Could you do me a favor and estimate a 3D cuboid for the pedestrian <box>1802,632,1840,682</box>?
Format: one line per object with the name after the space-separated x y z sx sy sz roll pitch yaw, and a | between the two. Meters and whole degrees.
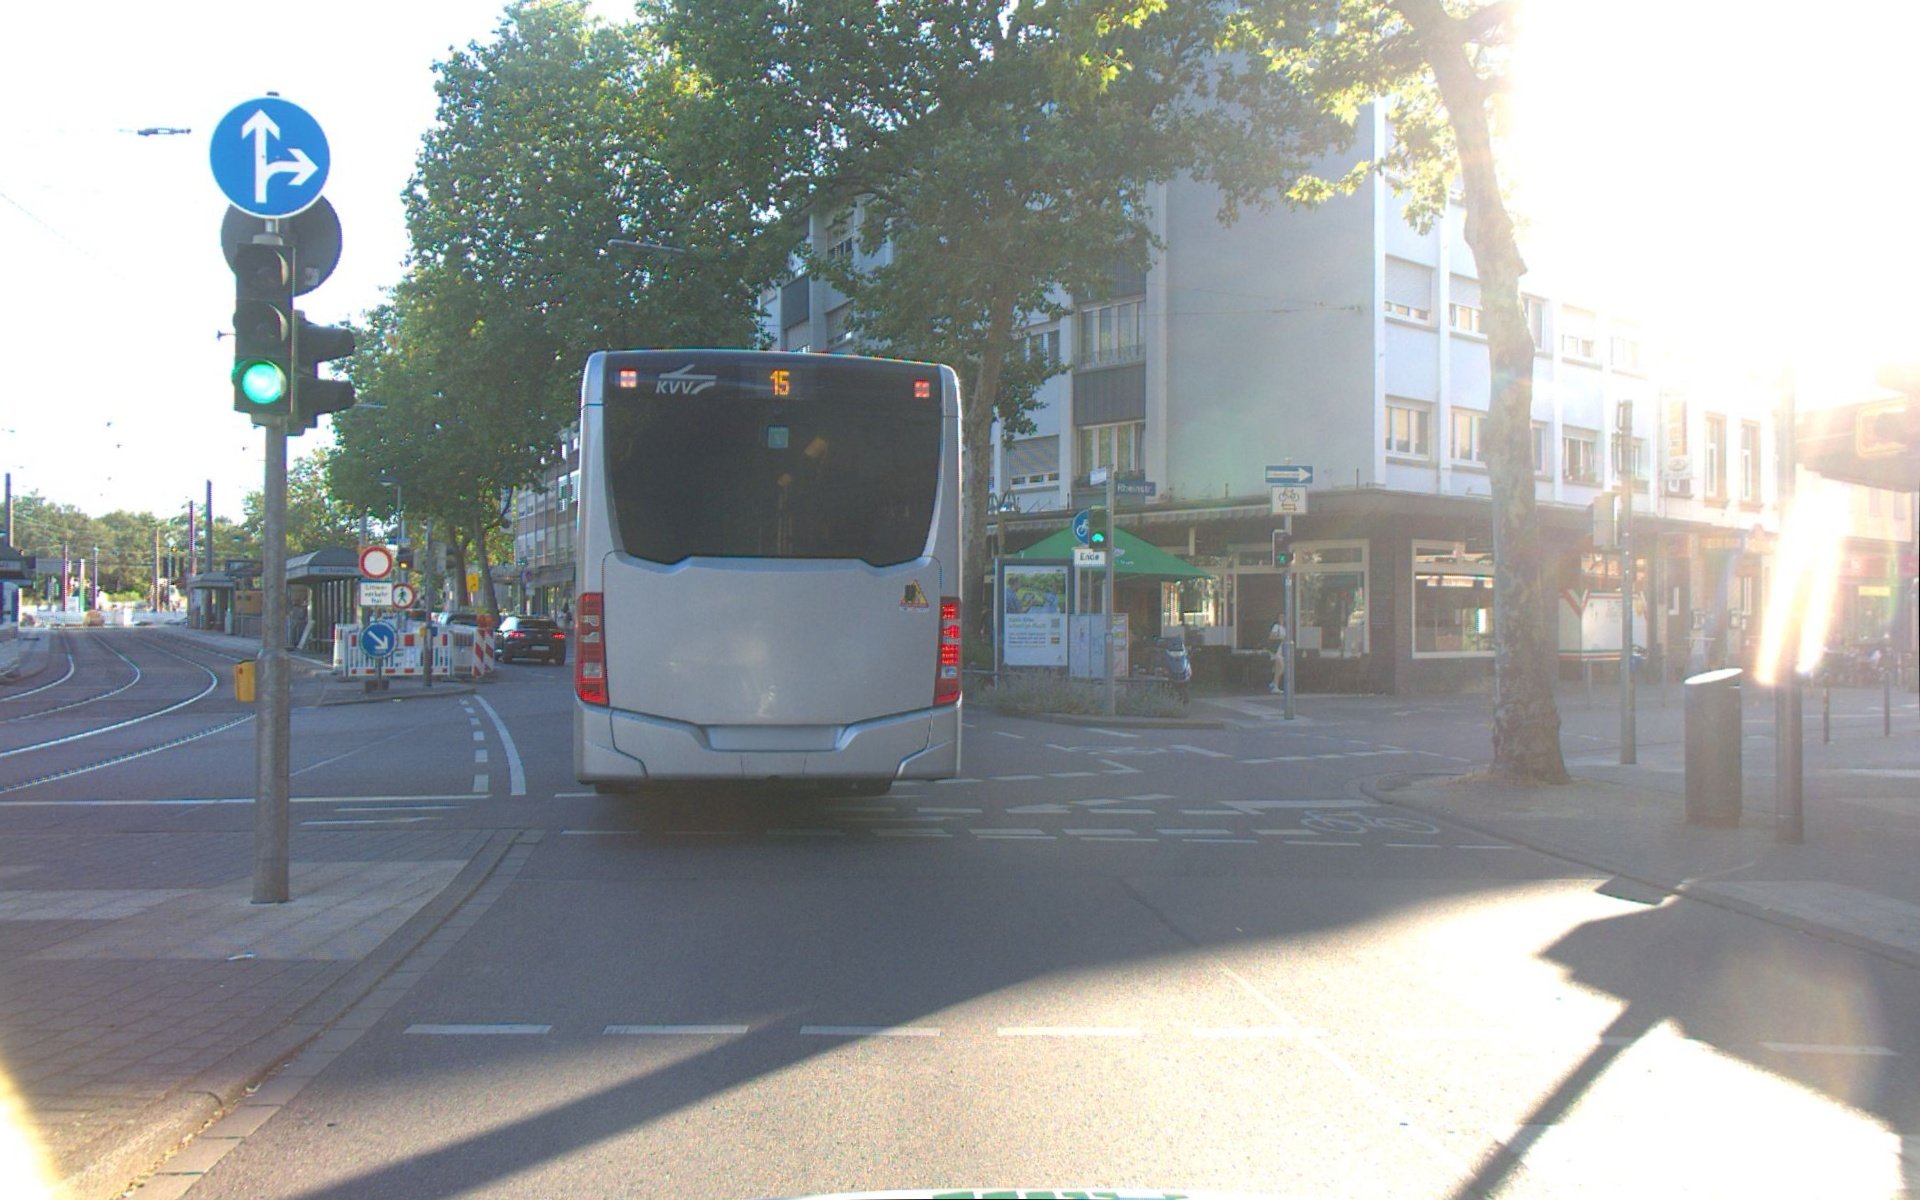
22.328 1.478 42.903 0.540 1.265 0.731 2 -1 -8 | pedestrian

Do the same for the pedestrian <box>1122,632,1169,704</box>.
3.376 1.236 30.101 0.543 1.265 0.727 2 -1 -23 | pedestrian

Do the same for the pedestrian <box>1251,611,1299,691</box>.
6.346 1.028 33.325 0.598 1.575 0.705 3 -1 -42 | pedestrian

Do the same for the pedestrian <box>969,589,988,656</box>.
0.489 0.594 43.707 0.352 1.748 0.308 2 -1 -17 | pedestrian

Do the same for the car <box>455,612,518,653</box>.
-17.708 1.188 61.760 1.733 1.490 3.969 1 -1 -24 | car

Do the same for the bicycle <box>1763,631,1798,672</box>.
23.143 1.434 46.619 1.705 1.058 0.290 -2 -1 -44 | bicycle

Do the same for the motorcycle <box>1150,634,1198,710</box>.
3.472 1.153 26.894 0.558 1.178 1.460 2 -1 1 | motorcycle

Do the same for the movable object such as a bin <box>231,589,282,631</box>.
-42.911 0.616 100.822 2.465 2.520 5.306 1 -1 -28 | movable object such as a bin

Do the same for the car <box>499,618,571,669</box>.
-12.917 1.284 50.139 1.730 1.490 3.976 1 -1 -20 | car

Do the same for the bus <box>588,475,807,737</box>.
-4.221 0.159 25.172 2.611 3.153 10.184 1 -1 -12 | bus

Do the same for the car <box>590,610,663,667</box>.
-10.232 1.156 50.632 1.733 1.656 3.592 1 -1 -19 | car

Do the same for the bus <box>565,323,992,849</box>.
-2.119 0.000 15.196 2.611 3.153 10.184 1 -1 -12 | bus

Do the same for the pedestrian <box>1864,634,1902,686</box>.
23.312 1.511 41.792 0.682 1.265 0.594 1 -1 45 | pedestrian

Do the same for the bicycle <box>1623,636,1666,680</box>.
16.765 1.419 40.510 1.705 1.059 0.290 2 -4 -44 | bicycle

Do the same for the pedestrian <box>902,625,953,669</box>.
-0.917 1.314 46.691 1.162 1.218 0.919 1 -1 -24 | pedestrian
